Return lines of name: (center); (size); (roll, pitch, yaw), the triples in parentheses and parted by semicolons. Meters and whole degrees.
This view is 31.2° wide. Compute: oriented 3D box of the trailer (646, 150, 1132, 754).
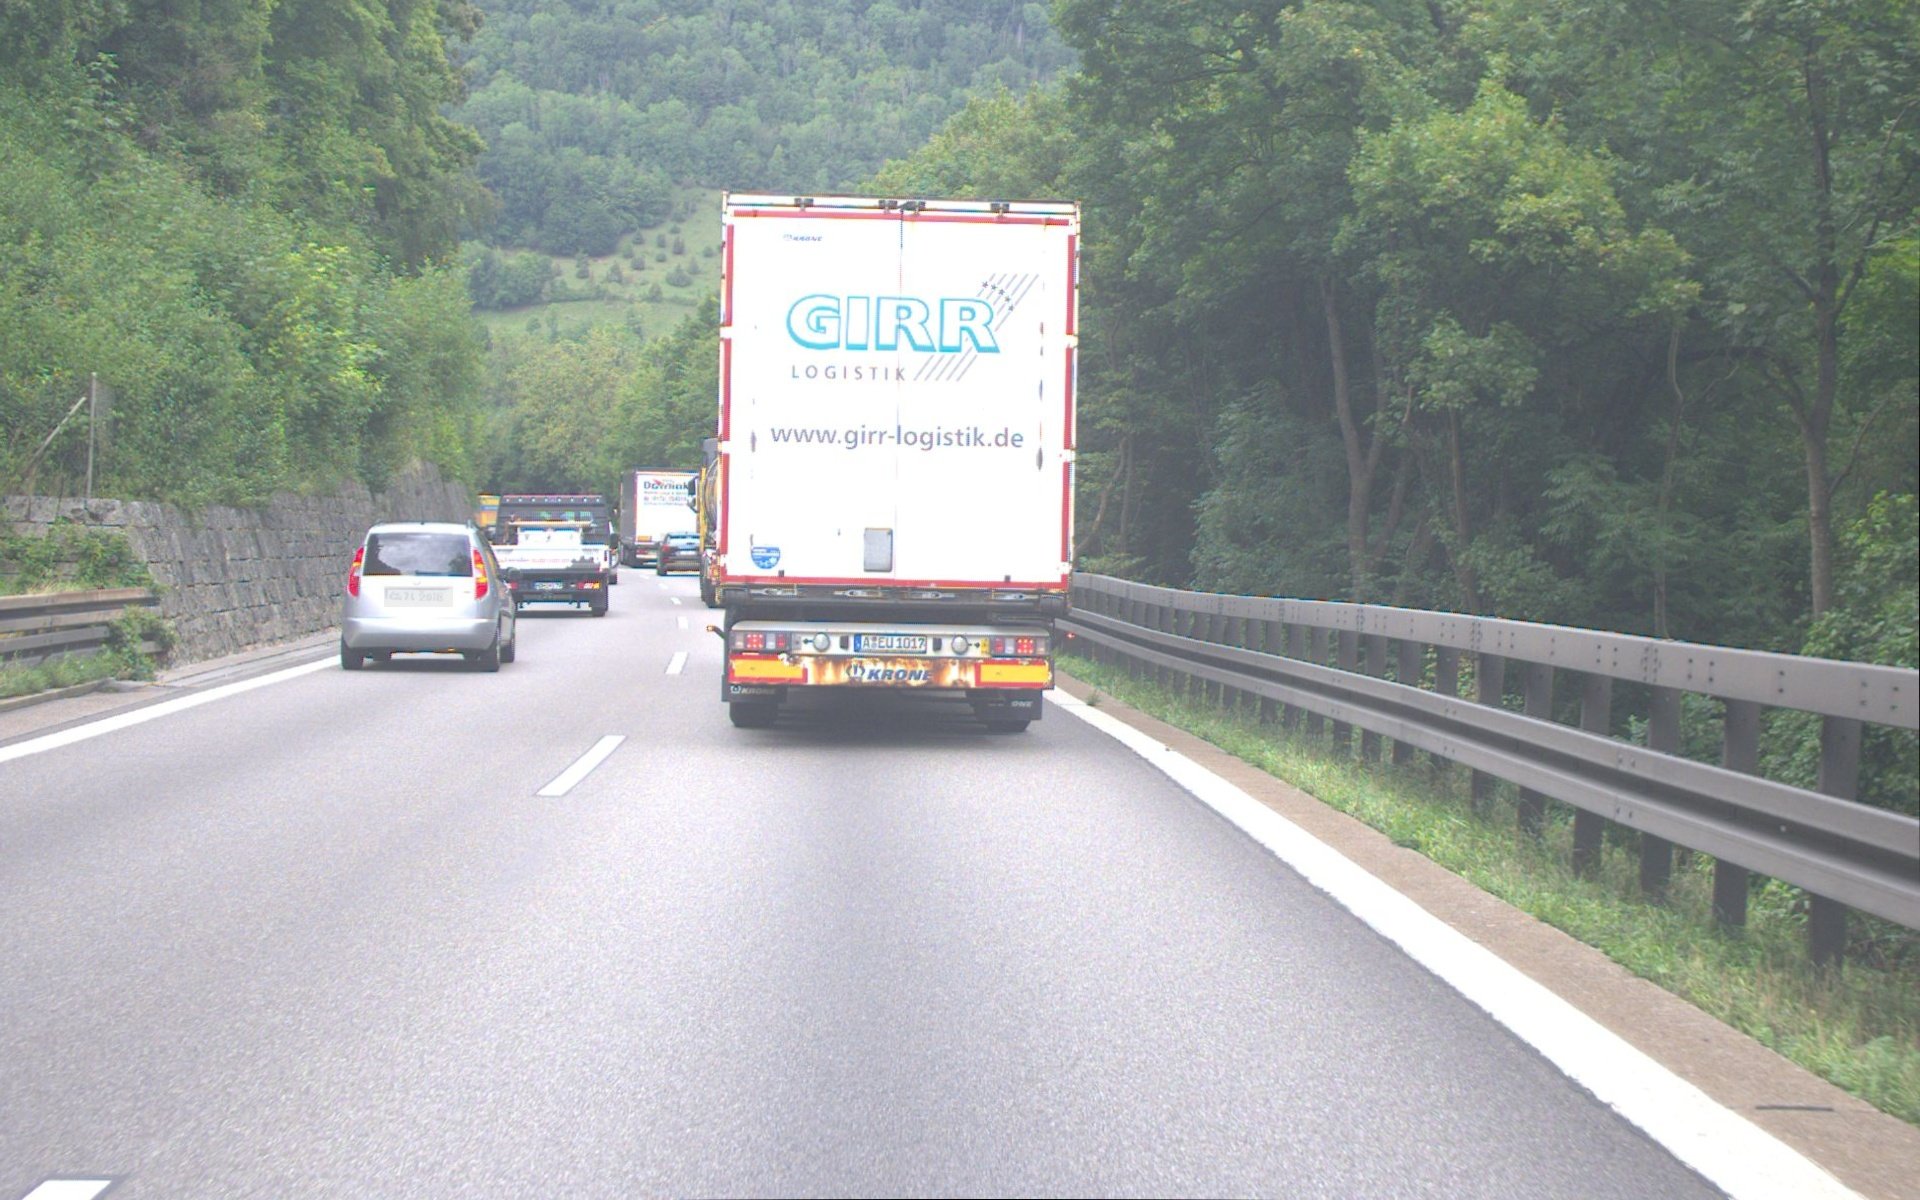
trailer: (-0.785, -1.138, 28.916); (3.132, 4.029, 9.441); (4, 1, -4)

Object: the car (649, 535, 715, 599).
car: (-9.336, -1.119, 115.378); (1.993, 2.007, 4.001); (3, 0, -6)

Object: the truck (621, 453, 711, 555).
truck: (-12.048, -3.856, 140.309); (3.068, 3.864, 8.460); (3, 0, -8)

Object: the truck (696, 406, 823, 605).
truck: (-4.190, -1.901, 70.882); (2.233, 3.791, 6.824); (3, 0, -5)

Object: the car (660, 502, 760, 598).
car: (-5.684, -1.136, 77.737); (1.993, 2.007, 4.334); (3, 0, -7)

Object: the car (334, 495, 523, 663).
car: (-5.889, -0.252, 38.482); (1.634, 1.720, 4.345); (2, 1, -3)

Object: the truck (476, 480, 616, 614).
truck: (-7.673, -1.001, 64.261); (2.348, 2.266, 6.851); (3, 1, -6)
